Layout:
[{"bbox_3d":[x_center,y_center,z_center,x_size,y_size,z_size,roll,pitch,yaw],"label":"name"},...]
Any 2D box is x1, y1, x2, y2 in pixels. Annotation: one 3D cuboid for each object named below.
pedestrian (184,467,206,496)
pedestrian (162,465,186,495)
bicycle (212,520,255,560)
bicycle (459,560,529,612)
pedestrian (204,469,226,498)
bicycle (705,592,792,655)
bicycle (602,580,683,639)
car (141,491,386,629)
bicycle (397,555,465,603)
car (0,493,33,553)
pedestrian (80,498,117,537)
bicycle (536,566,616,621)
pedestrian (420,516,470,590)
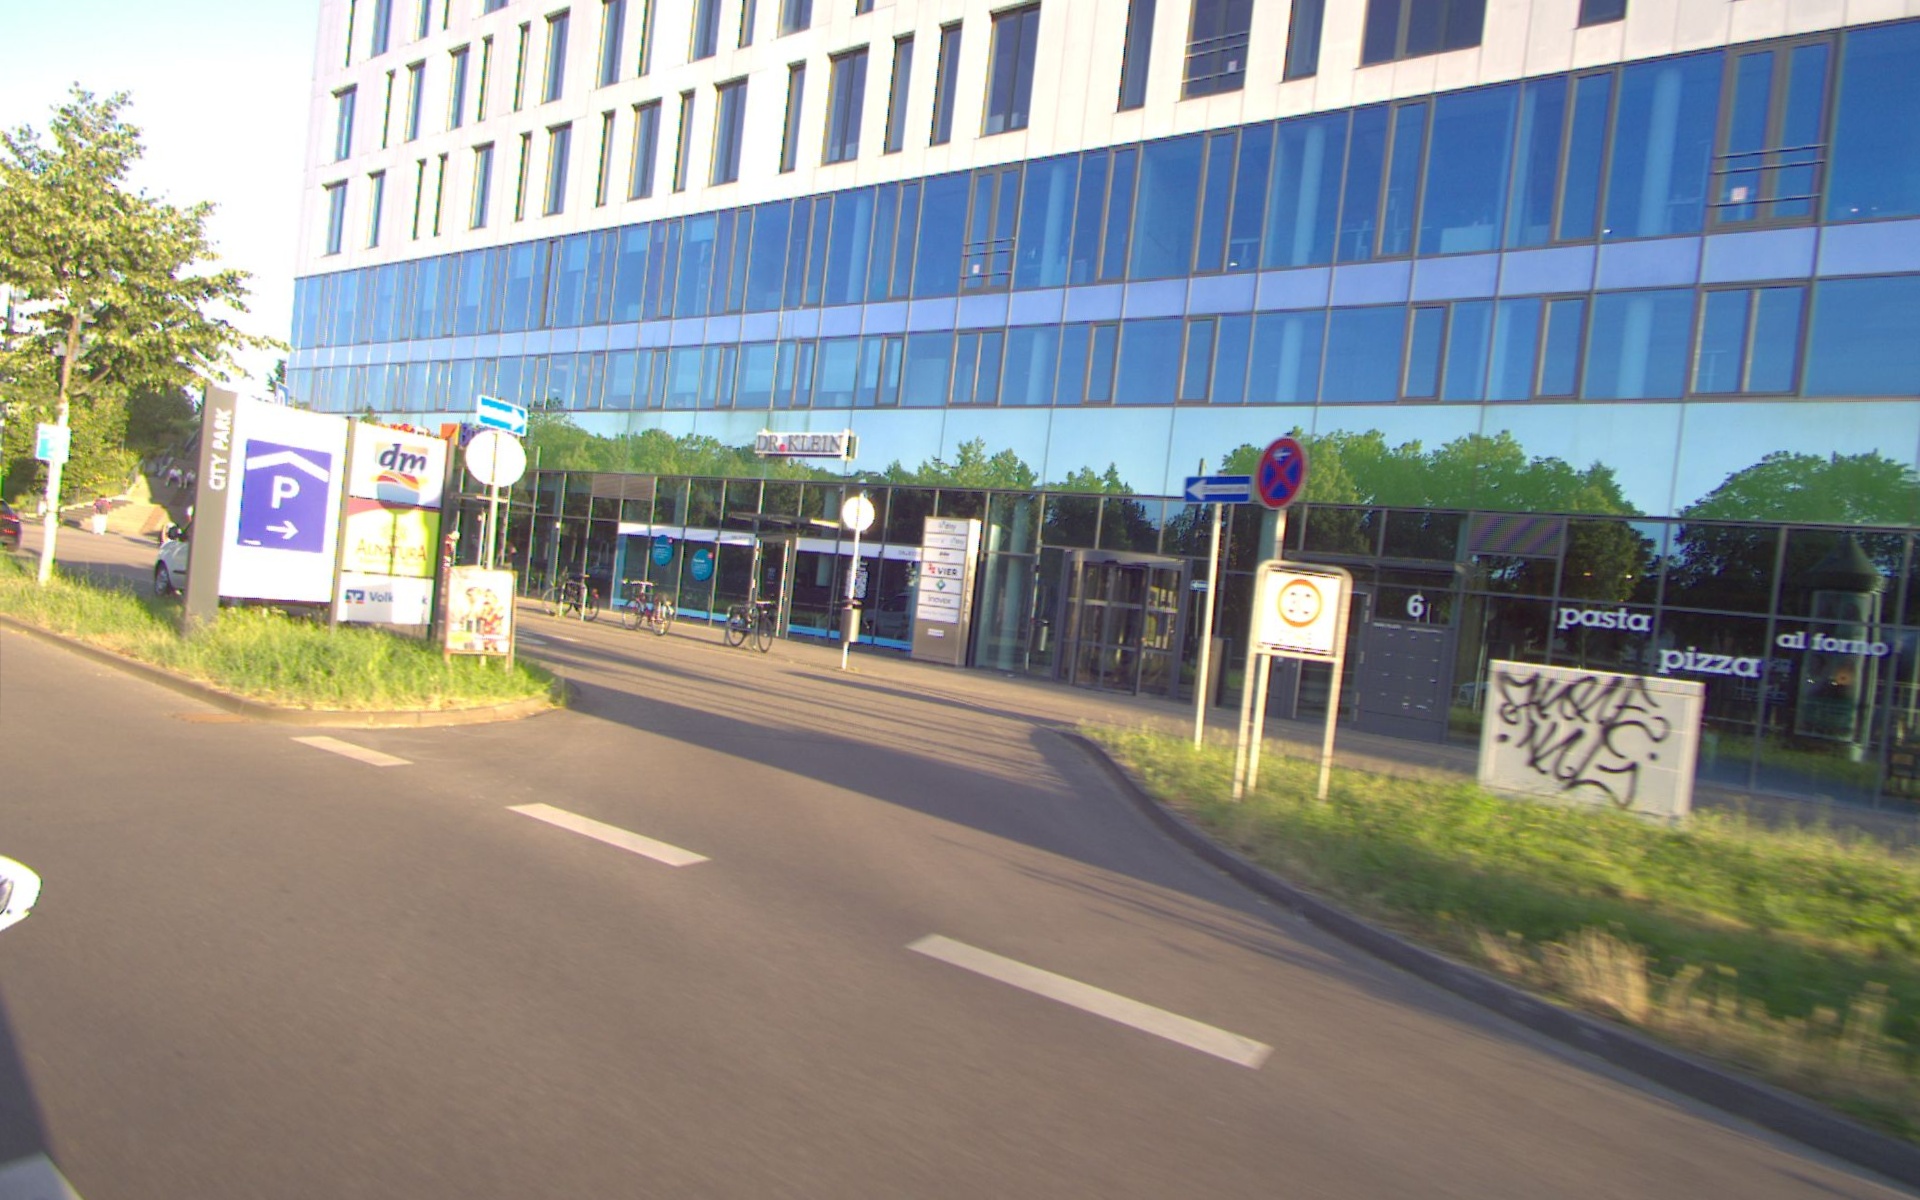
[{"bbox_3d":[-42.670,-6.605,56.112,0.806,1.474,1.103,5,2,-31],"label":"pedestrian"},{"bbox_3d":[-43.540,-6.652,55.735,0.806,1.474,1.103,5,2,-31],"label":"pedestrian"},{"bbox_3d":[-24.092,-1.981,33.355,1.609,1.170,0.492,7,1,31],"label":"bicycle"},{"bbox_3d":[-11.821,-0.368,25.481,2.090,1.081,0.634,7,1,37],"label":"bicycle"},{"bbox_3d":[-41.821,-6.521,56.475,0.806,1.474,1.103,5,2,-31],"label":"pedestrian"},{"bbox_3d":[-4.361,0.469,20.686,1.975,1.081,0.541,7,1,40],"label":"bicycle"},{"bbox_3d":[-7.005,0.191,22.147,2.093,1.081,0.633,7,1,42],"label":"bicycle"},{"bbox_3d":[-12.081,-0.726,17.370,4.324,1.849,1.854,6,-2,33],"label":"car"},{"bbox_3d":[-14.060,-0.565,26.719,2.089,1.081,0.634,7,1,35],"label":"bicycle"},{"bbox_3d":[-26.572,-2.246,26.587,4.386,1.452,1.828,7,-2,32],"label":"car"},{"bbox_3d":[-36.899,-3.534,43.106,1.037,1.460,0.825,9,2,32],"label":"pedestrian"},{"bbox_3d":[-9.150,-0.158,23.906,2.089,1.081,0.634,7,1,35],"label":"bicycle"},{"bbox_3d":[-15.645,-1.414,30.563,1.095,2.117,0.812,6,2,35],"label":"pedestrian"}]
